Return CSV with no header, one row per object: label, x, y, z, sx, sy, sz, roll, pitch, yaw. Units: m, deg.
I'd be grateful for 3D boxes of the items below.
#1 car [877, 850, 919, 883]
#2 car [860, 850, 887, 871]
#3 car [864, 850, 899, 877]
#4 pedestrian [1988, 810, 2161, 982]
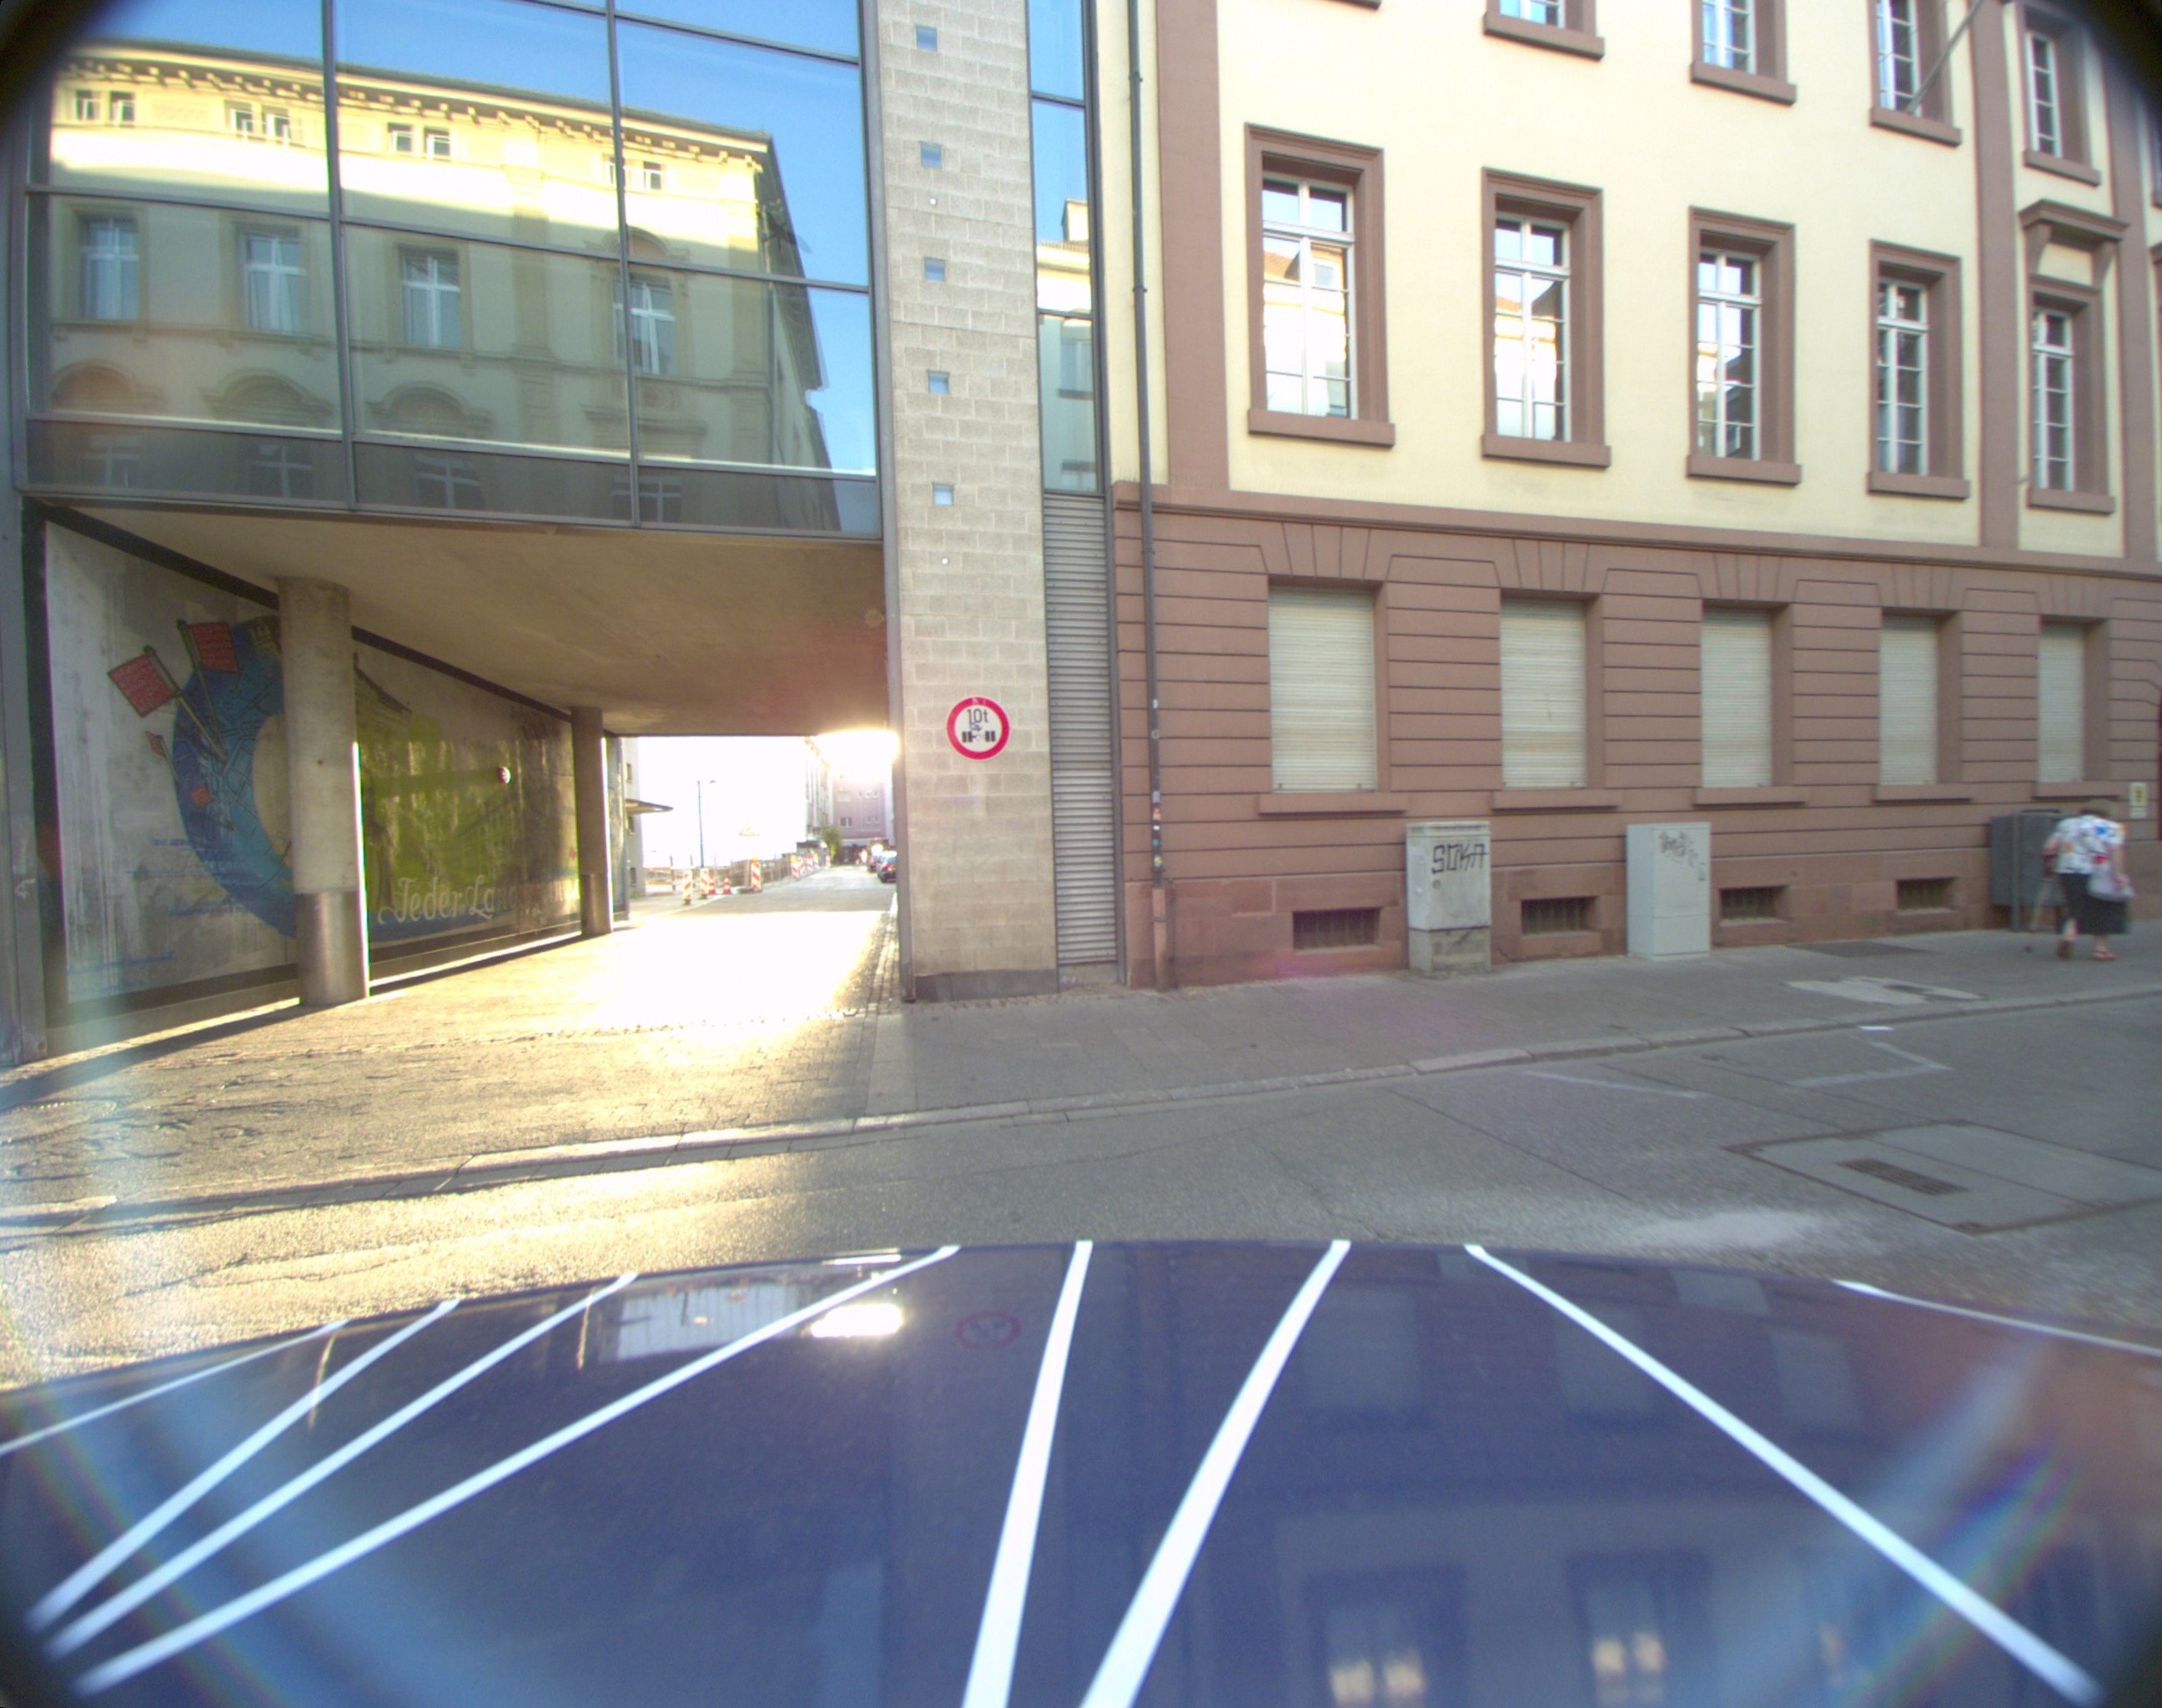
car,-9.166,0.578,37.845,1.603,1.484,3.438,-2,1,-20
car,-15.162,0.440,55.486,1.603,1.484,3.438,-2,1,-20
car,-11.823,0.518,44.950,1.603,1.484,3.438,-2,1,-20
pedestrian,10.288,0.400,7.876,0.931,1.662,0.811,-2,2,-14
